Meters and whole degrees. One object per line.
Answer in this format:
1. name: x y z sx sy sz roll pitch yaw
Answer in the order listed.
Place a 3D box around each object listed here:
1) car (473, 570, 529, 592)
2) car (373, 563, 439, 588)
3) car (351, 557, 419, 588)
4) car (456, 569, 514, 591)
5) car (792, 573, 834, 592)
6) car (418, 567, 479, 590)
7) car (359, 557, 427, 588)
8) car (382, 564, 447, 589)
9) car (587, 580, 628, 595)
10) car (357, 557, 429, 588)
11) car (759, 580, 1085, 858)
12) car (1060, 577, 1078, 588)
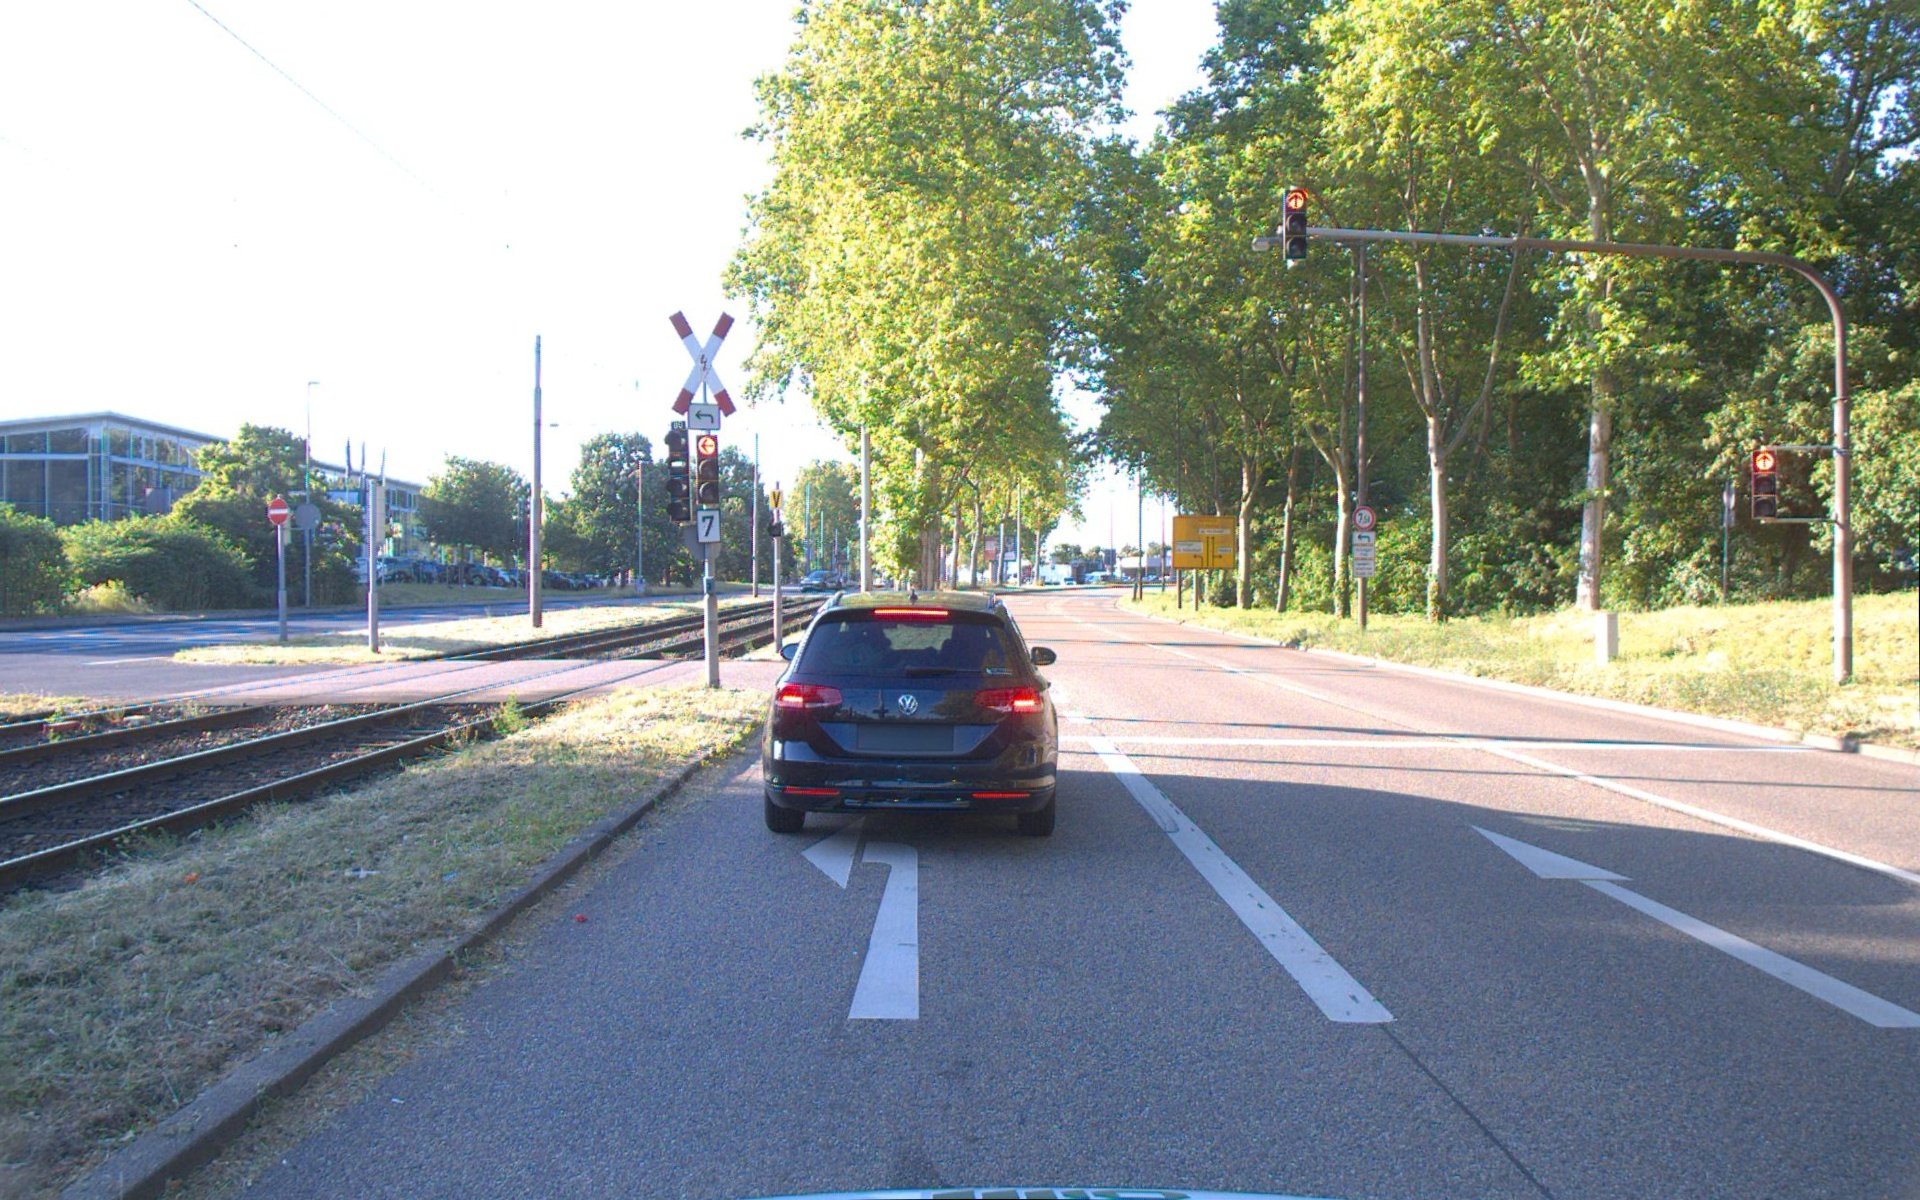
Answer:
1. car: -35.715 -1.487 128.789 3.909 1.649 1.741 1 0 -6
2. car: -35.606 -1.571 106.250 3.931 1.583 1.732 1 0 -22
3. car: -35.944 -1.725 103.333 3.931 1.848 1.732 1 0 -22
4. car: -36.035 -1.510 125.572 3.909 1.649 1.741 1 0 -6
5. car: -11.681 -1.383 131.575 1.823 1.507 4.174 1 1 17
6. car: -36.480 -1.523 118.116 3.913 1.583 1.740 1 0 -10
7. car: -34.832 -1.684 101.599 3.931 1.848 1.732 1 0 -22
8. car: -35.956 -1.560 109.028 3.931 1.583 1.732 1 0 -22
9. car: -36.572 -1.299 171.752 3.909 1.583 1.742 1 0 -5
10. car: -33.286 -1.586 97.040 3.931 1.734 1.732 1 0 -22
11. car: -0.246 0.638 10.834 1.759 1.490 3.582 1 0 -1
12. car: 15.136 -2.456 230.337 1.826 1.507 4.086 1 0 -6
